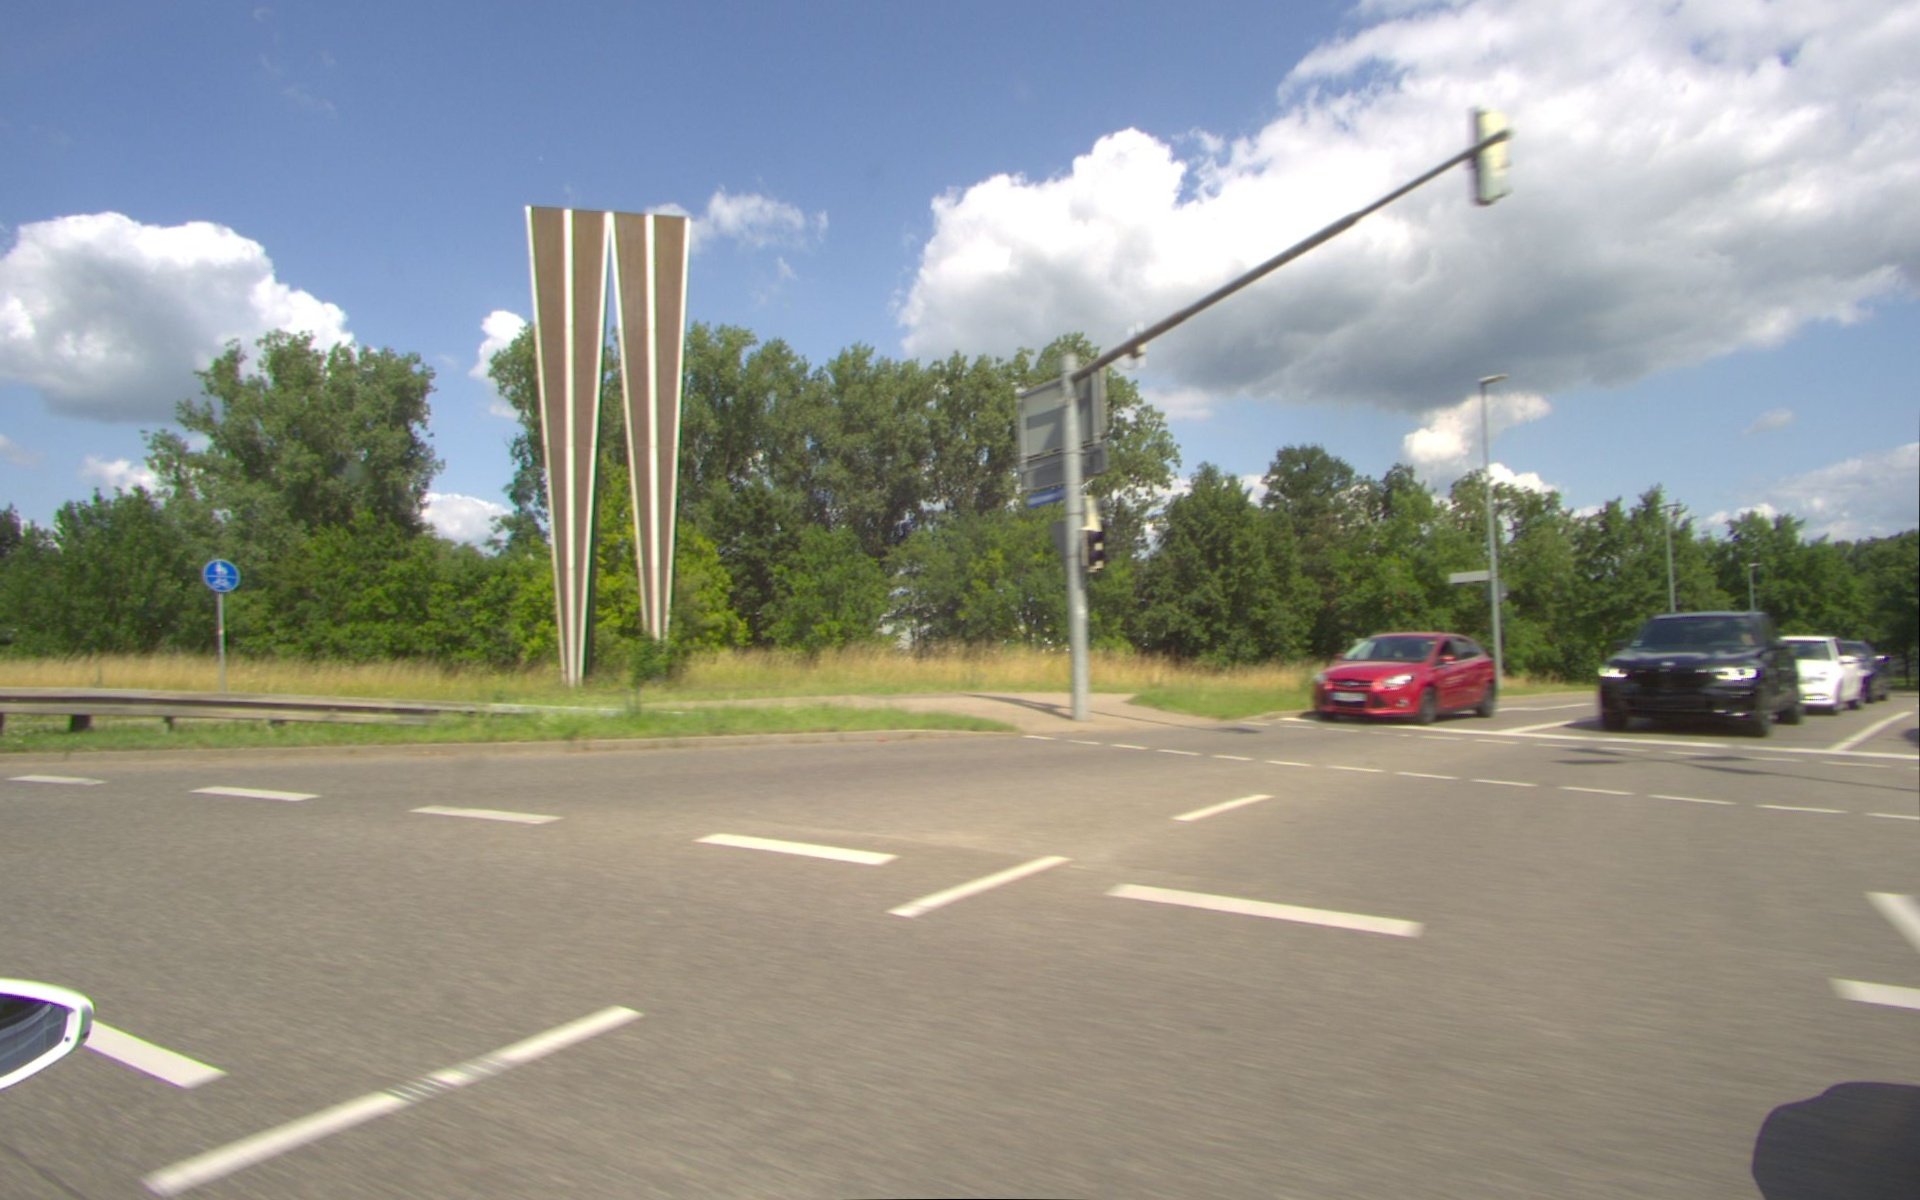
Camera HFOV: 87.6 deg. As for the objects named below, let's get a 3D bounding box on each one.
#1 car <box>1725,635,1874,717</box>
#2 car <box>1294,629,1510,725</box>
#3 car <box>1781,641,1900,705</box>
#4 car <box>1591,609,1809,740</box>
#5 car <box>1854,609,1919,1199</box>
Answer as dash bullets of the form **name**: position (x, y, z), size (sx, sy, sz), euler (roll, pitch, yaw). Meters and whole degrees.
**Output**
- **car**: position (16.015, 1.382, 19.033), size (4.173, 1.393, 1.632), euler (2, -3, -42)
- **car**: position (7.402, 1.208, 16.600), size (4.173, 1.393, 1.743), euler (2, -3, -42)
- **car**: position (21.319, 1.706, 24.196), size (4.173, 1.393, 1.686), euler (2, -3, -42)
- **car**: position (11.098, 1.039, 14.909), size (4.173, 1.666, 1.821), euler (2, -3, -42)
- **car**: position (3.840, 0.640, 0.832), size (4.308, 1.453, 1.787), euler (-3, -2, 32)
